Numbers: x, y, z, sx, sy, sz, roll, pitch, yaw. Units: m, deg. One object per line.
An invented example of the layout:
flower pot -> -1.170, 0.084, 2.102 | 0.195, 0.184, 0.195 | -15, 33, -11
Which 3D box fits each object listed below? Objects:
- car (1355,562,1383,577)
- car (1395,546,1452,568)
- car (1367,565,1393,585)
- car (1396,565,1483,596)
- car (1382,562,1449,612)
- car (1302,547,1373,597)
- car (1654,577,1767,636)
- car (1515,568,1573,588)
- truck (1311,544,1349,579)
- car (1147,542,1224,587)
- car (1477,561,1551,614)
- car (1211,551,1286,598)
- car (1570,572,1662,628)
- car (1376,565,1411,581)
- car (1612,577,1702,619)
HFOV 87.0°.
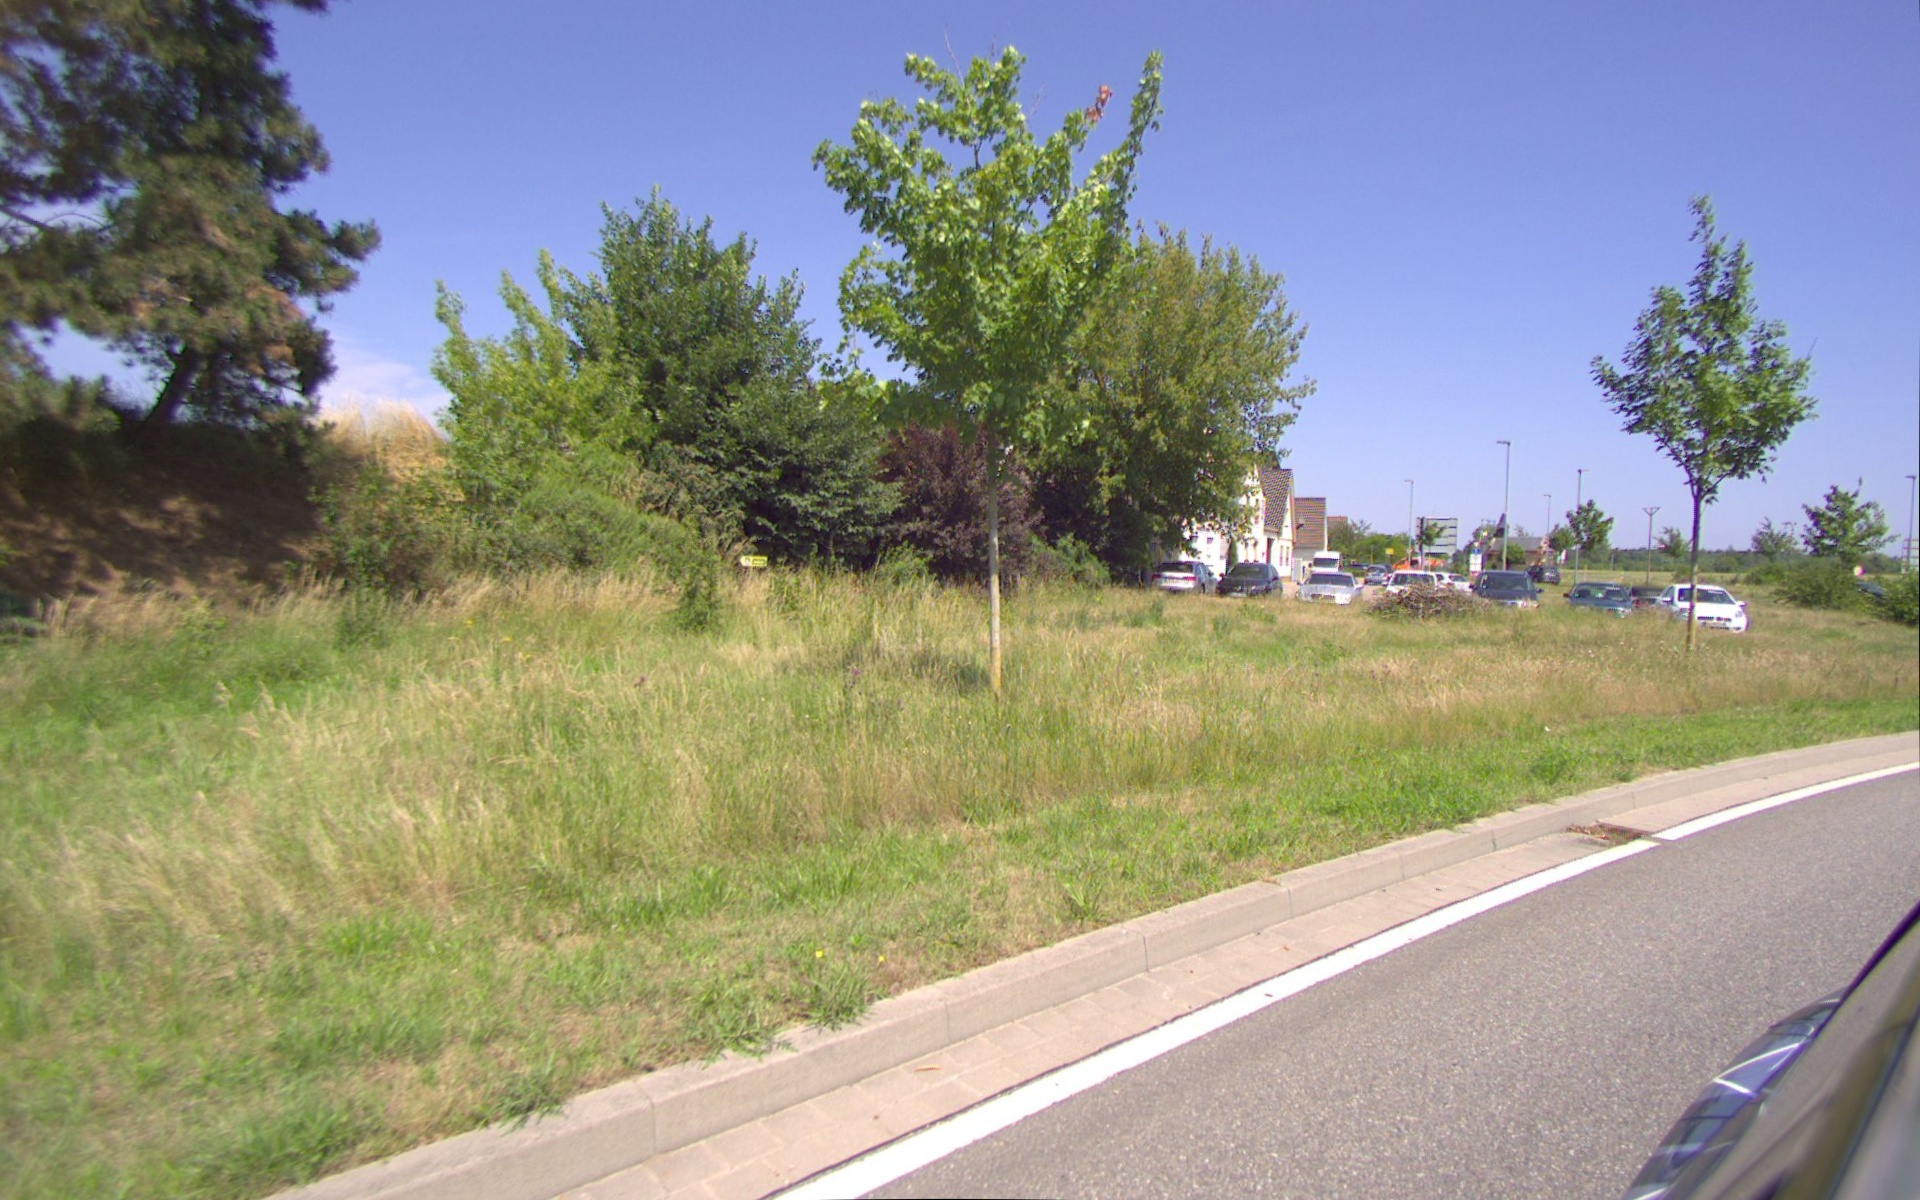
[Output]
car -> 48.880, -3.627, 120.975 | 1.865, 1.636, 3.997 | 2, 3, 4
car -> 59.147, -5.468, 129.254 | 6.109, 2.615, 2.323 | 4, 3, 39
car -> 33.338, -2.025, 80.361 | 1.834, 1.514, 3.971 | 2, 3, 23
car -> 24.617, -1.010, 52.099 | 1.616, 1.409, 4.010 | 0, 3, -22
car -> 14.709, -0.403, 32.568 | 1.757, 1.460, 3.930 | 3, 1, 27
car -> 12.201, -0.866, 32.587 | 1.756, 1.460, 3.932 | 3, 1, 25
car -> 21.352, 0.116, 28.961 | 1.729, 1.445, 3.968 | 3, 3, 24
car -> 50.175, -1.936, 87.055 | 1.915, 1.669, 4.894 | 0, 2, -4
truck -> 28.140, -2.916, 76.845 | 2.214, 2.536, 5.589 | 2, 3, 25
car -> 8.043, -1.224, 35.850 | 1.756, 1.460, 3.931 | 3, 1, 26
car -> 16.720, -0.378, 30.698 | 1.757, 1.460, 3.930 | 3, 1, 27
car -> 9.785, -0.833, 34.156 | 1.756, 1.460, 3.931 | 3, 1, 26
car -> 19.027, -0.035, 29.504 | 1.757, 1.460, 3.930 | 3, 1, 27
car -> 38.473, -2.403, 89.778 | 1.847, 1.367, 3.713 | 4, 4, 40
car -> 25.743, -0.121, 37.515 | 1.726, 1.327, 3.975 | 2, 3, 20
